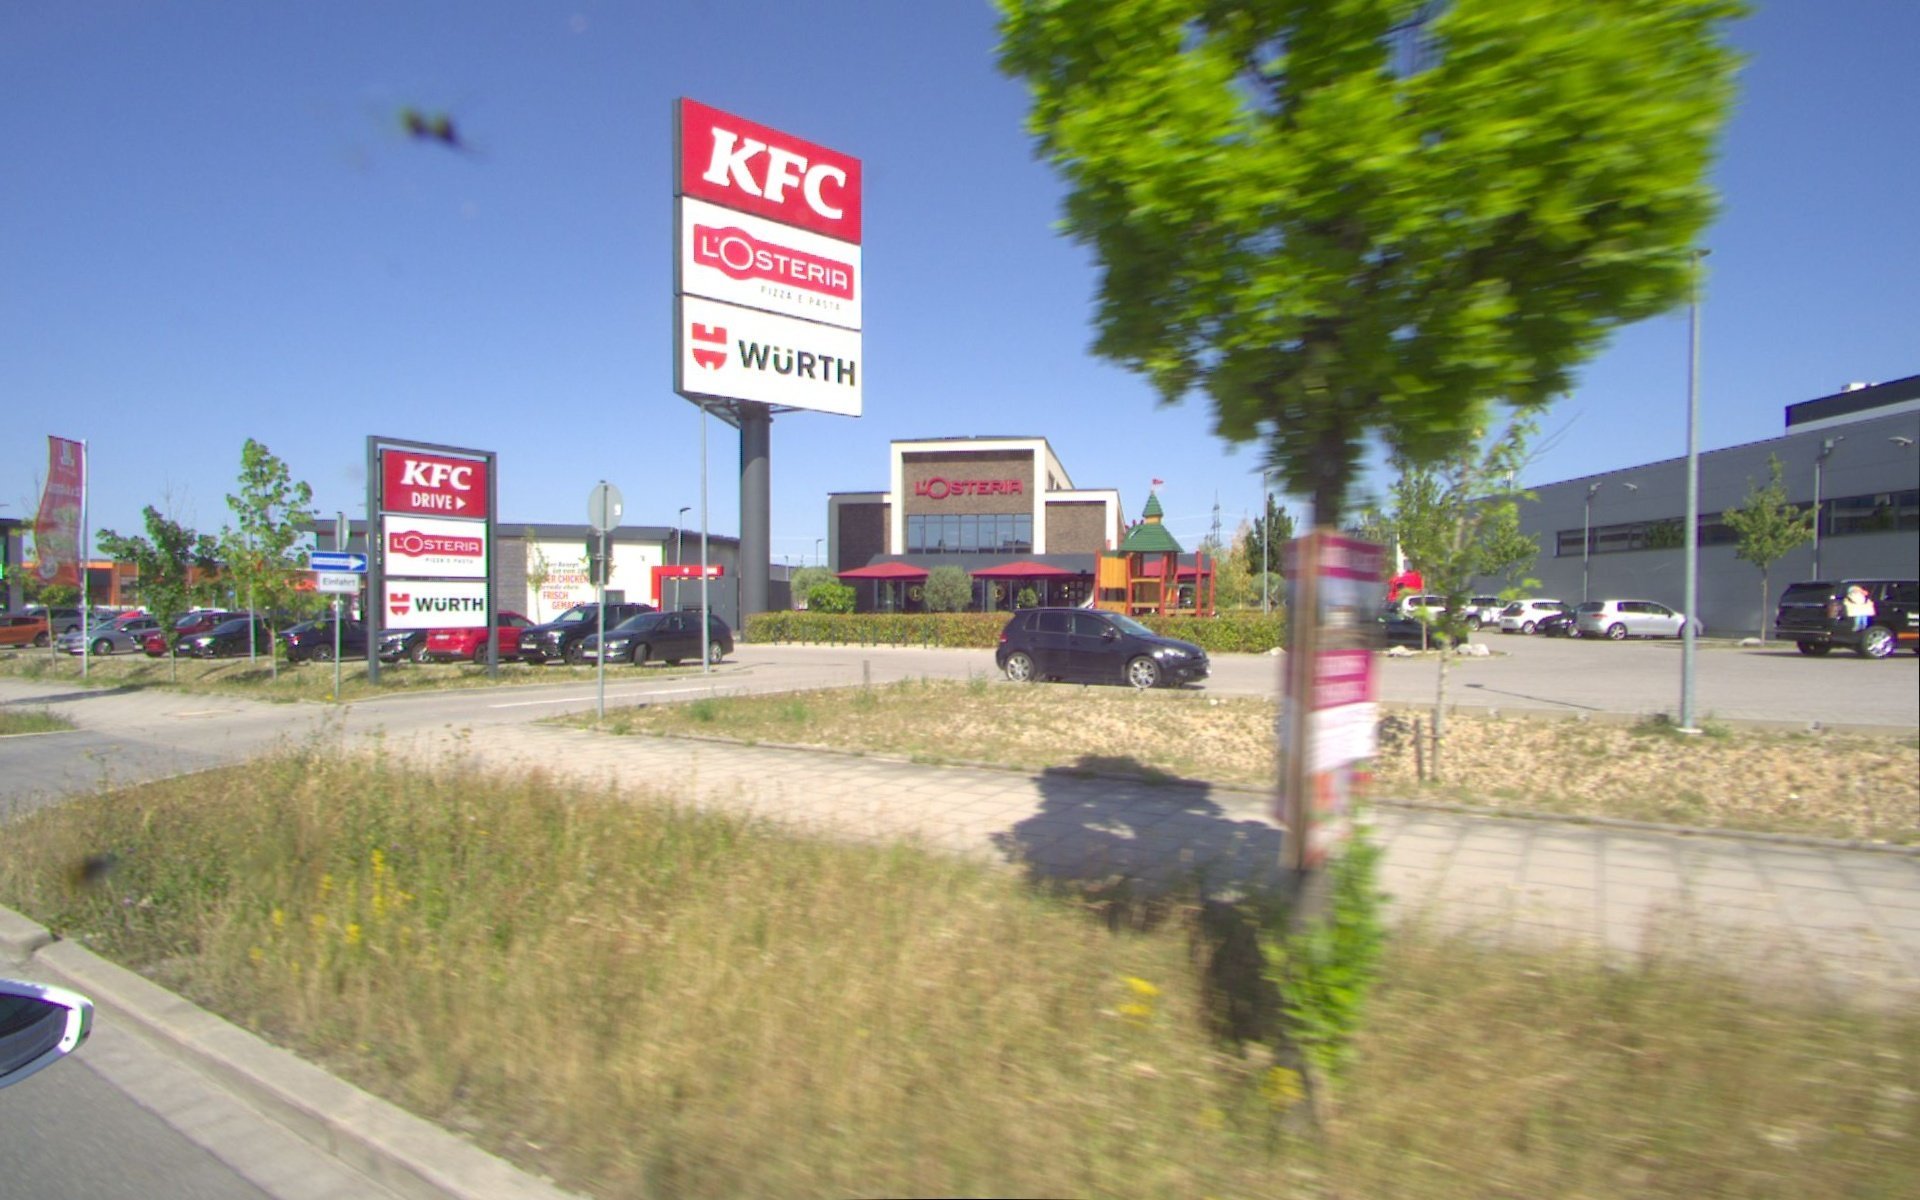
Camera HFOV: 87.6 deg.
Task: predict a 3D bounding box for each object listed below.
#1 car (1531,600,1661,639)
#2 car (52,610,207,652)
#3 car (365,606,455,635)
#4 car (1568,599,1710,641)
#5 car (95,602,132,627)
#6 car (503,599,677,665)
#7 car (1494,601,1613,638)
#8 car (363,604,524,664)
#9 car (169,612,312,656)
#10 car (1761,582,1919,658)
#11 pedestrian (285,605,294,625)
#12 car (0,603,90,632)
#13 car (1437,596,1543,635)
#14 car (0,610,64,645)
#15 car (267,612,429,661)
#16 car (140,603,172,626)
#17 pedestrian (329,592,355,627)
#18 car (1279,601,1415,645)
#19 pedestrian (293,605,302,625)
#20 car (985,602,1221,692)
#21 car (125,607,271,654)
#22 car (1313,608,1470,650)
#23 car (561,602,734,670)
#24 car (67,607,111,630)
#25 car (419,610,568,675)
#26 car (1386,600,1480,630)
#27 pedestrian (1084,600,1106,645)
[{"bbox_3d":[24.812,0.764,39.151,4.029,1.481,1.702,0,0,0],"label":"car"},{"bbox_3d":[-33.848,1.215,40.959,1.836,1.510,4.558,0,1,21],"label":"car"},{"bbox_3d":[-30.140,1.100,55.043,1.833,1.451,4.566,0,1,10],"label":"car"},{"bbox_3d":[24.781,0.725,36.639,4.029,1.481,1.702,0,0,0],"label":"car"},{"bbox_3d":[-63.503,1.064,75.151,1.769,1.781,4.139,0,0,-36],"label":"car"},{"bbox_3d":[-10.979,0.873,30.155,1.908,1.758,4.979,1,1,26],"label":"car"},{"bbox_3d":[24.939,0.811,42.160,4.029,1.481,1.702,0,0,0],"label":"car"},{"bbox_3d":[-16.549,1.026,32.345,1.763,1.758,4.401,1,1,28],"label":"car"},{"bbox_3d":[-27.341,1.256,38.210,1.759,1.469,4.159,0,1,19],"label":"car"},{"bbox_3d":[23.478,0.492,25.271,4.828,1.840,2.048,0,0,2],"label":"car"},{"bbox_3d":[-43.312,0.973,64.695,0.287,1.257,0.380,0,1,9],"label":"pedestrian"},{"bbox_3d":[-53.584,1.000,58.329,1.757,1.657,4.167,0,0,9],"label":"car"},{"bbox_3d":[24.716,0.732,46.777,4.029,1.780,1.702,0,0,0],"label":"car"},{"bbox_3d":[-42.941,1.233,44.580,1.835,1.510,4.211,0,0,17],"label":"car"},{"bbox_3d":[-20.788,1.199,34.165,1.768,1.469,4.388,1,1,38],"label":"car"},{"bbox_3d":[-64.452,1.149,80.317,1.769,1.781,4.139,0,0,-36],"label":"car"},{"bbox_3d":[-36.430,0.545,59.045,0.874,2.040,0.915,0,0,14],"label":"pedestrian"},{"bbox_3d":[13.588,0.798,35.322,4.150,1.491,1.702,0,0,-1],"label":"car"},{"bbox_3d":[-43.330,0.986,65.493,0.287,1.257,0.380,0,1,9],"label":"pedestrian"},{"bbox_3d":[2.680,0.827,19.068,4.109,1.560,1.776,0,0,33],"label":"car"},{"bbox_3d":[-29.611,1.138,39.076,1.838,1.688,4.153,0,1,25],"label":"car"},{"bbox_3d":[13.058,0.855,30.434,4.055,1.228,1.654,0,0,-1],"label":"car"},{"bbox_3d":[-8.244,0.890,26.857,1.963,1.587,4.404,0,1,26],"label":"car"},{"bbox_3d":[-56.817,1.189,65.377,1.769,1.470,4.139,0,0,-36],"label":"car"},{"bbox_3d":[-14.302,1.241,31.002,1.758,1.758,4.414,0,1,15],"label":"car"},{"bbox_3d":[24.331,0.778,51.577,4.029,1.481,1.702,0,0,0],"label":"car"},{"bbox_3d":[5.347,0.894,39.699,0.806,1.772,0.518,0,0,14],"label":"pedestrian"}]
